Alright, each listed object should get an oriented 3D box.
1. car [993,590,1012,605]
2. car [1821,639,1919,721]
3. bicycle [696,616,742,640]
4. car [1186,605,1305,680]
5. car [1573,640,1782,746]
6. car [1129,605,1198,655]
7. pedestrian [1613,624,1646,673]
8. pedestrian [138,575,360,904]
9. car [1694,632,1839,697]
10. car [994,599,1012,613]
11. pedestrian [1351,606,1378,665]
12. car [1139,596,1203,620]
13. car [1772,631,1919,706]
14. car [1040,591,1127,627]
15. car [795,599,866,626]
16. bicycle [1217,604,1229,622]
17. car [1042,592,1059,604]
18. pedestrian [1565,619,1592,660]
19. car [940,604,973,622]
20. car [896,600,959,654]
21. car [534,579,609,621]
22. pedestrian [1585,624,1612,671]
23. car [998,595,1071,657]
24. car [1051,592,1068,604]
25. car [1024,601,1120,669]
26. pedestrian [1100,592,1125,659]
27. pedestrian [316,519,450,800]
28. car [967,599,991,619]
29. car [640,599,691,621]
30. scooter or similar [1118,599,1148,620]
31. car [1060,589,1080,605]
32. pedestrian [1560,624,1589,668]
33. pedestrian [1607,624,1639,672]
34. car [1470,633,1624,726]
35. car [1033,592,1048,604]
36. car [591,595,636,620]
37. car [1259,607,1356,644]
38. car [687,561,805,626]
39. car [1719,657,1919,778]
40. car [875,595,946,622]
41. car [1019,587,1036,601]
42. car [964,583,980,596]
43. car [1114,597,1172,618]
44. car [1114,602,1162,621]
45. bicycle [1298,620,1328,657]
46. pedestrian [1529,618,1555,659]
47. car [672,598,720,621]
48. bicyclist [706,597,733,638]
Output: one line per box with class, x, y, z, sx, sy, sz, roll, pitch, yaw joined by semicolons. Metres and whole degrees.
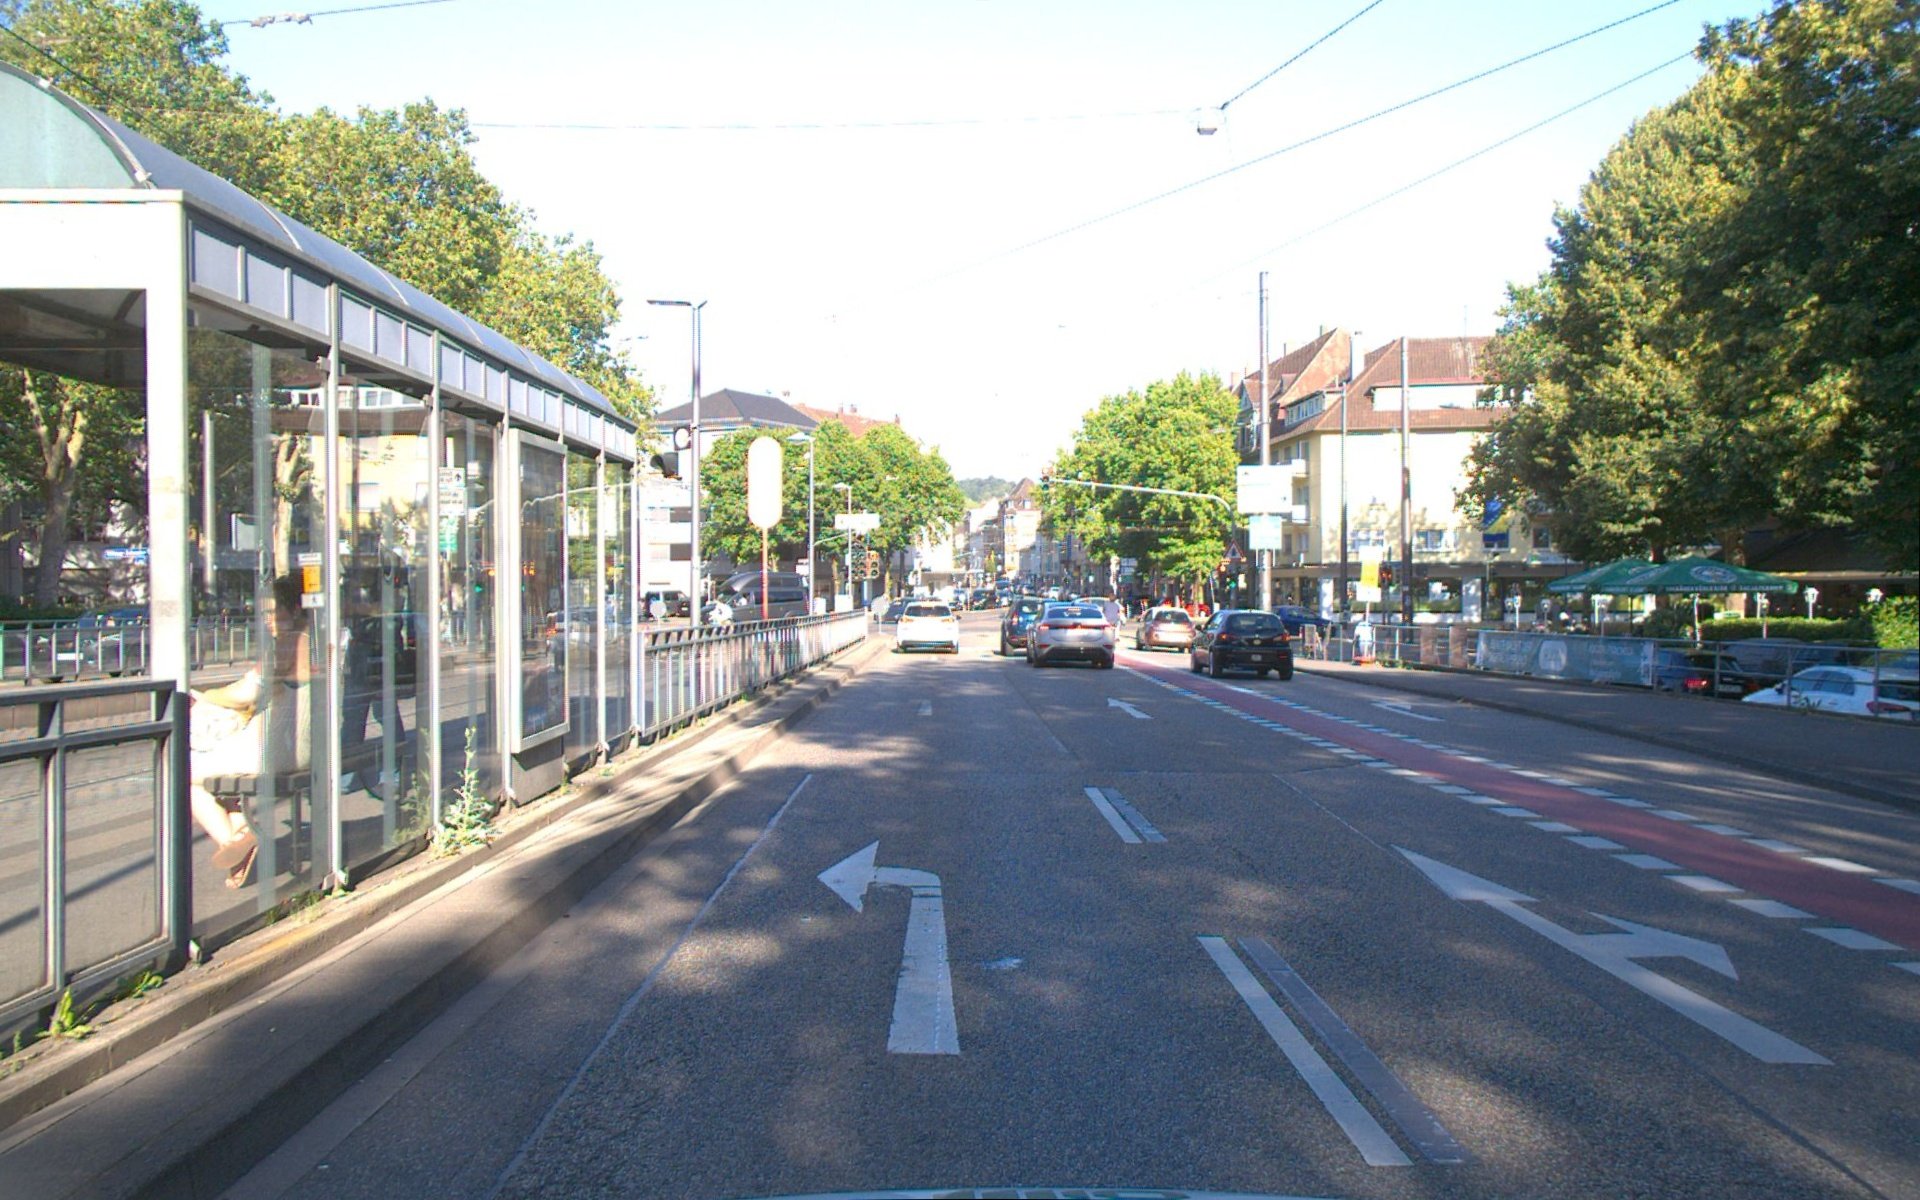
car;4.423;-0.288;171.429;1.758;1.537;3.998;0;0;-2
car;20.229;1.646;34.979;4.202;1.431;1.940;-2;1;-36
bicycle;-8.519;0.999;58.473;1.578;0.830;0.527;0;0;22
car;6.057;0.874;35.447;1.763;1.464;4.044;1;0;-1
car;13.622;1.714;31.682;1.760;1.834;4.204;1;-1;-8
car;6.810;0.976;55.693;1.758;1.536;3.999;0;1;-1
pedestrian;19.270;1.388;47.585;0.635;1.361;0.632;3;0;-1
pedestrian;-3.005;0.571;7.037;0.664;1.332;0.593;1;-1;0
car;20.283;1.585;41.563;3.960;1.371;1.755;-2;1;-38
car;4.676;0.639;179.623;1.758;1.537;3.998;0;0;-2
pedestrian;11.218;0.988;45.862;0.634;1.590;0.632;2;0;18
car;14.161;0.532;110.870;3.914;1.537;1.796;0;0;-10
car;20.707;1.550;38.554;3.963;1.506;1.774;-2;1;-40
car;6.054;0.447;81.275;4.065;1.722;1.820;1;0;-4
car;-5.957;0.597;75.663;2.857;1.183;2.063;1;-1;-18
bicycle;16.677;0.799;104.813;0.596;1.127;1.801;0;0;4
car;11.278;-0.256;205.869;1.758;1.537;3.999;0;0;-1
pedestrian;21.128;1.338;56.499;0.635;1.361;0.632;3;0;-1
car;-0.304;1.164;149.290;1.756;1.537;4.002;-1;-1;18
car;-0.958;0.764;48.379;1.771;1.478;3.999;1;0;-1
car;-30.613;-0.015;130.574;2.445;3.220;6.535;0;0;22
pedestrian;19.053;1.411;49.332;0.636;1.361;0.630;2;0;29
car;2.058;0.705;46.710;1.764;1.666;4.044;0;0;-1
car;12.041;-0.243;199.721;1.758;1.537;3.999;0;0;-1
car;2.602;0.785;39.415;1.890;1.498;4.853;0;0;-1
pedestrian;4.341;0.717;47.128;0.643;1.904;0.677;0;0;-1
pedestrian;-3.608;0.362;10.375;0.583;1.707;0.590;1;-1;4
car;1.823;0.825;156.763;1.756;1.858;4.003;0;0;9
car;-22.530;0.729;126.714;1.760;1.678;4.004;0;0;28
scooter or similar;10.977;0.603;104.801;1.915;1.303;0.550;0;0;41
car;12.830;-0.384;193.208;2.062;1.807;4.340;0;0;-1
pedestrian;19.620;1.473;52.793;0.635;1.361;0.632;3;0;-1
pedestrian;19.398;1.403;48.418;0.635;1.361;0.632;3;0;-1
car;13.216;1.745;37.529;1.758;1.931;4.356;1;-1;-3
car;10.903;-0.258;225.100;1.758;1.549;3.999;0;0;-1
car;-27.085;0.576;129.398;1.756;1.990;4.002;0;0;18
car;14.902;1.072;70.844;3.947;1.537;1.781;0;0;-31
car;-9.633;-0.265;74.406;4.936;2.791;2.063;1;-1;-18
car;13.610;1.735;25.433;1.758;1.606;4.441;1;-1;-1
car;-2.886;0.510;96.533;3.923;1.537;1.792;0;0;38
car;10.214;-0.897;250.113;2.280;2.049;4.975;0;0;-1
car;1.383;-1.264;194.297;1.758;1.537;3.998;0;0;-2
car;13.408;0.538;121.200;3.911;1.537;1.797;0;0;-7
car;14.607;0.927;135.429;3.968;1.537;1.772;0;0;-43
bicycle;10.639;1.164;49.880;0.488;1.093;1.799;1;-1;-1
pedestrian;20.208;1.337;57.450;0.635;1.361;0.632;3;0;-1
car;-20.113;0.713;126.048;1.881;1.678;4.181;0;0;19
bicyclist;-8.518;0.617;58.475;0.784;1.439;0.527;0;0;22
